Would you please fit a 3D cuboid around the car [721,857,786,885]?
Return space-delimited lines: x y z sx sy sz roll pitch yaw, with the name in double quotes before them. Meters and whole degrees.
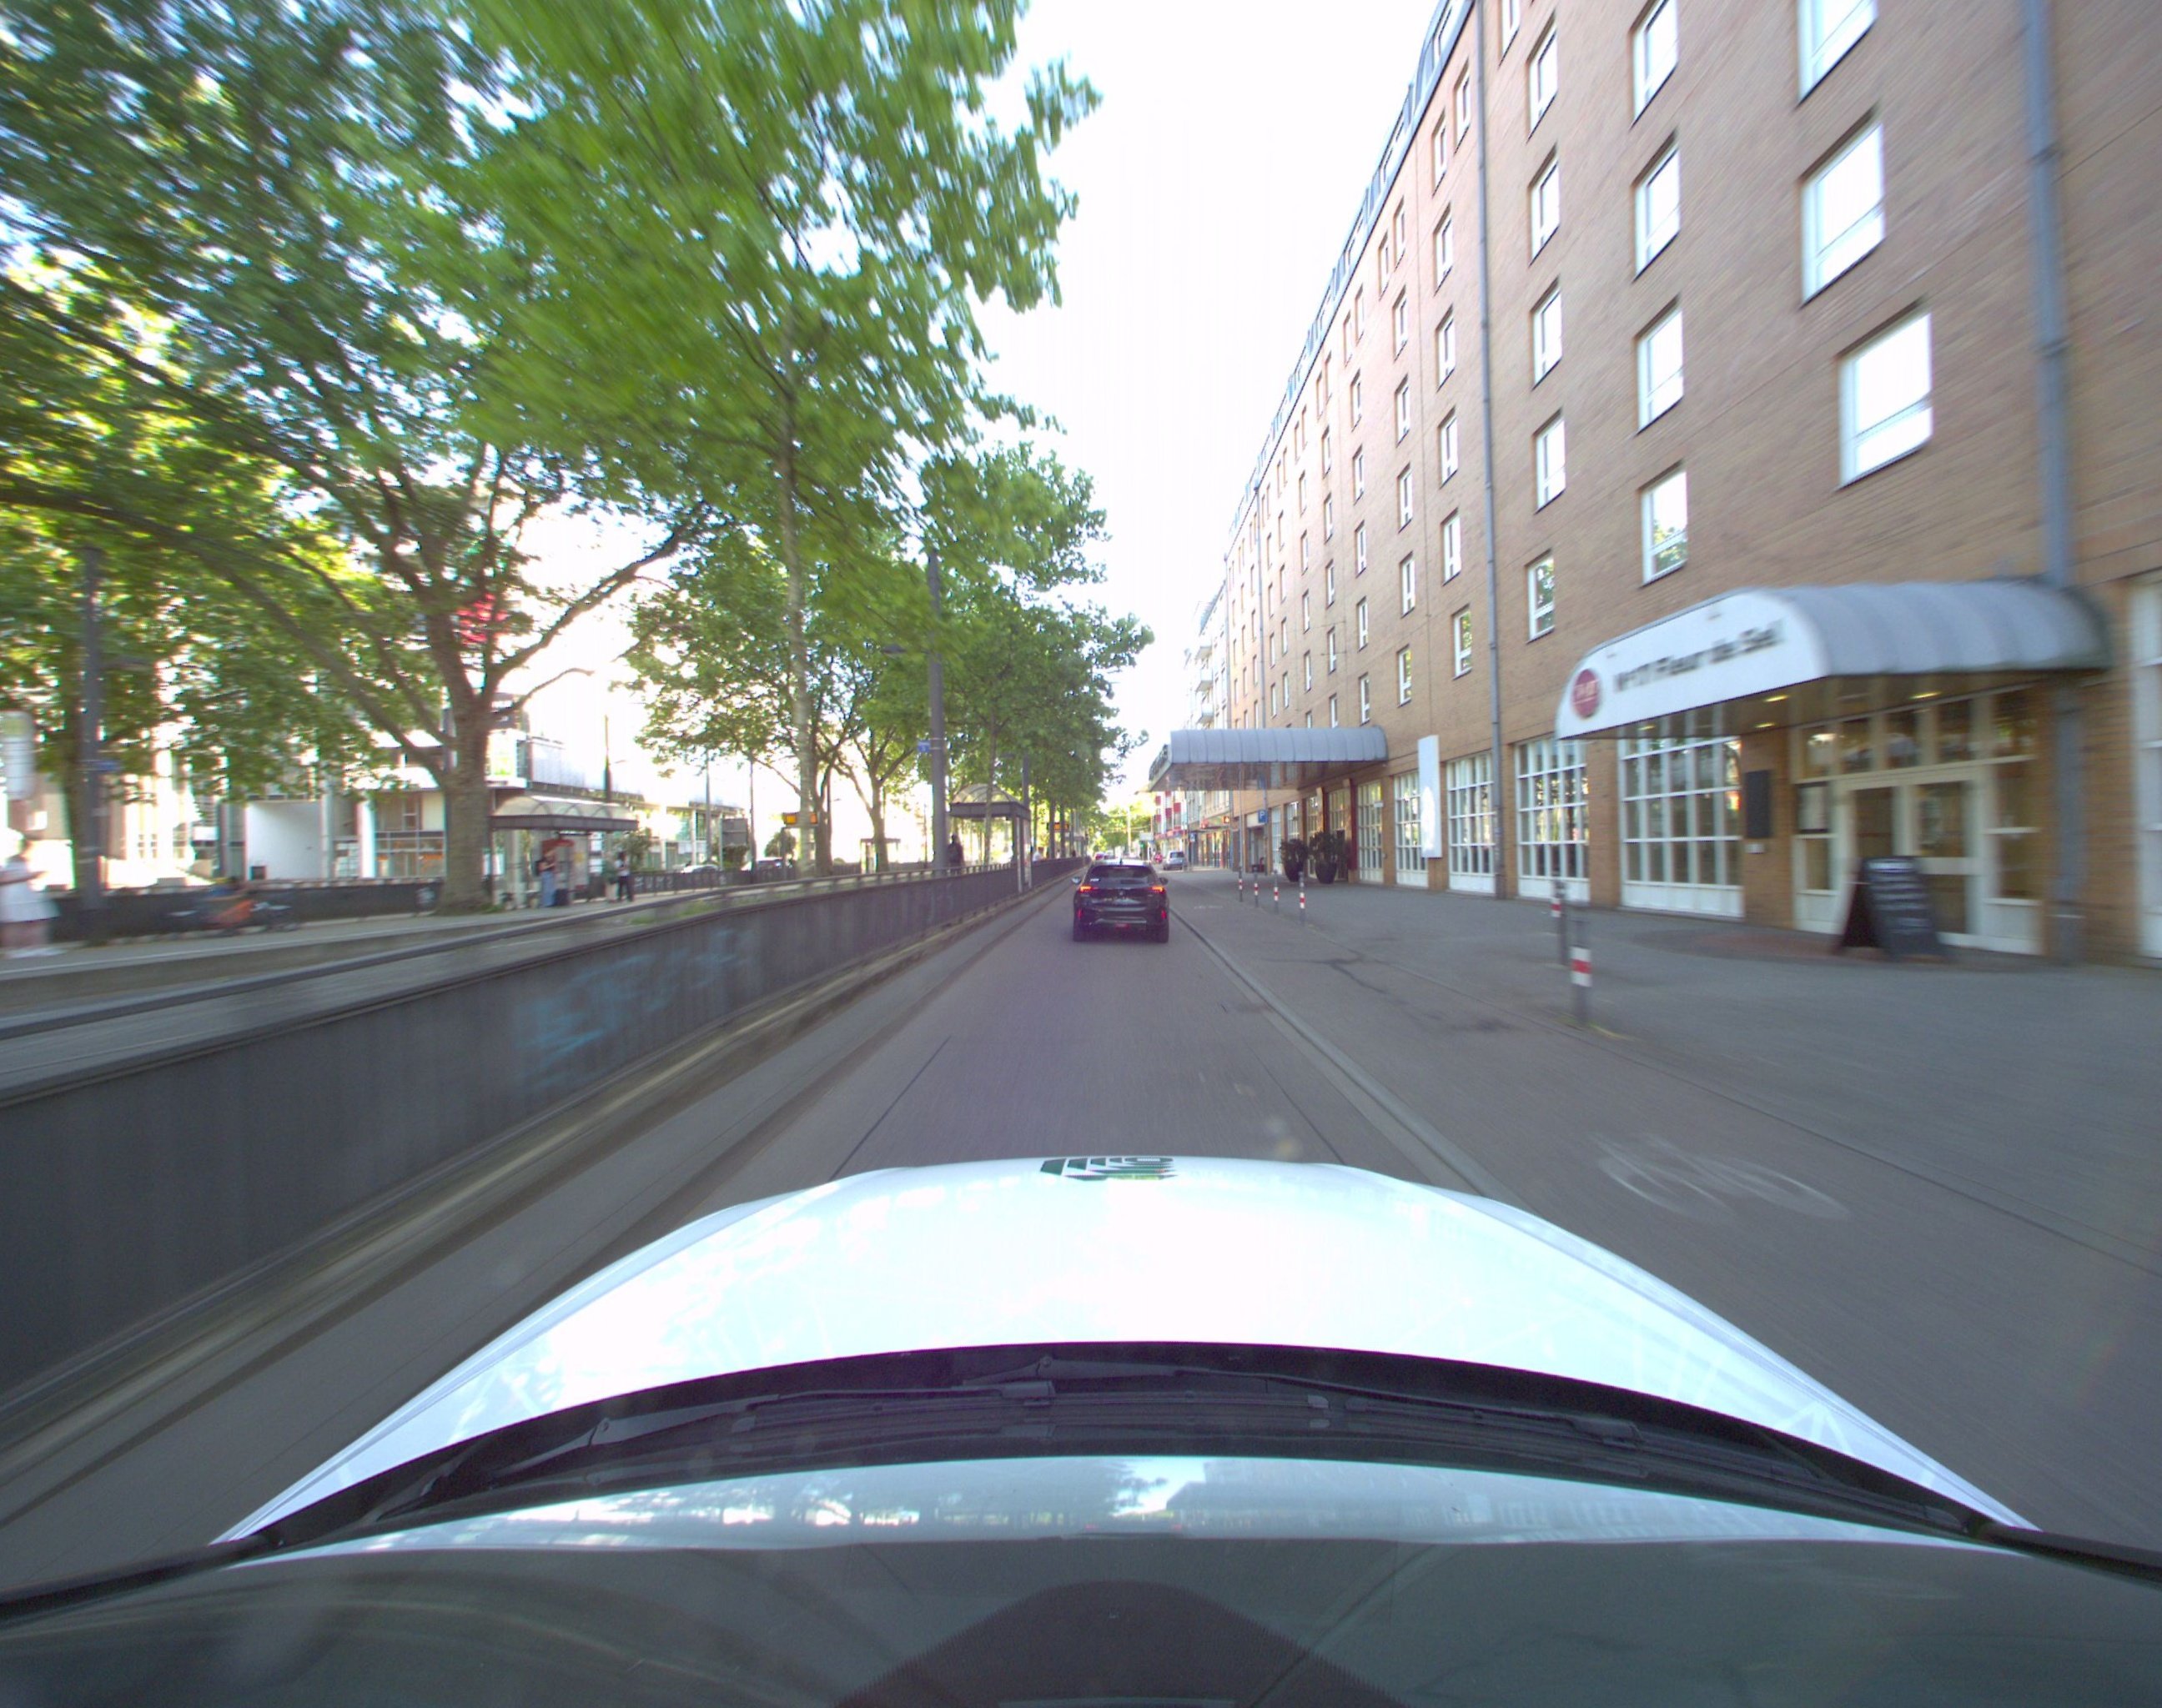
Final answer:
"car" -17.661 0.882 44.137 1.658 1.407 4.004 -1 -1 4

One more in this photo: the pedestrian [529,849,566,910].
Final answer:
"pedestrian" -14.121 0.659 21.570 0.480 1.573 0.676 0 2 45

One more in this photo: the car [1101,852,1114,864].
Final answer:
"car" 3.325 0.461 101.897 1.607 1.501 3.691 -1 0 1

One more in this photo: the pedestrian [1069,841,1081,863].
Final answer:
"pedestrian" -0.409 -0.151 55.235 0.720 1.444 0.626 -1 0 -2

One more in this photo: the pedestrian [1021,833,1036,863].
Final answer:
"pedestrian" -2.433 -0.286 37.755 0.602 1.365 0.486 -3 -1 2

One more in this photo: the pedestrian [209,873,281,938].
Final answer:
"pedestrian" -15.790 0.961 15.391 0.586 1.164 0.748 -1 0 17

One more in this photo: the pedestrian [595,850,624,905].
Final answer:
"pedestrian" -13.892 0.684 24.002 0.498 1.573 0.495 -1 1 5

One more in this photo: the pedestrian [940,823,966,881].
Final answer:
"pedestrian" -3.848 -0.061 24.521 0.602 1.680 0.486 -3 -1 2

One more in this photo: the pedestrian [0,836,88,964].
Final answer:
"pedestrian" -15.193 0.646 11.856 0.586 1.800 0.748 -1 0 17

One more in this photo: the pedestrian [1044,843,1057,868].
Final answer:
"pedestrian" -1.713 0.077 45.915 0.602 1.365 0.486 -3 -1 2

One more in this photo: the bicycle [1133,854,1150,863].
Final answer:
"bicycle" 8.431 0.609 113.834 2.345 1.233 0.684 -1 0 3

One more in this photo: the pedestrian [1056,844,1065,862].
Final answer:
"pedestrian" -1.514 -0.074 60.265 0.602 1.365 0.486 -3 -1 2

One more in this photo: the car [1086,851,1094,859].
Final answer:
"car" 1.756 0.097 157.095 1.607 1.501 3.691 -1 0 1

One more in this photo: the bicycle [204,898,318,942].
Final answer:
"bicycle" -15.544 1.226 15.501 0.391 0.689 1.696 -1 0 2

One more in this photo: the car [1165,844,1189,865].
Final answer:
"car" 7.800 0.042 66.666 1.665 1.652 3.693 -1 0 3

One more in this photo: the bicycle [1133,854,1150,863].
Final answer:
"bicycle" 8.357 0.578 112.111 2.345 1.233 0.684 -1 0 3

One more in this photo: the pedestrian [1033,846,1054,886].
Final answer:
"pedestrian" -1.378 0.420 30.075 0.720 1.444 0.626 -1 0 -2

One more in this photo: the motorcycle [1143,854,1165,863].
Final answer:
"motorcycle" 8.995 0.504 100.676 1.312 1.058 3.069 -1 0 -28

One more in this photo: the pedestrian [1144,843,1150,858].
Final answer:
"pedestrian" 12.835 -0.728 158.231 0.913 2.871 1.151 -1 0 1

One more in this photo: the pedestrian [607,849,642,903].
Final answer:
"pedestrian" -13.758 0.664 24.553 0.559 1.573 0.642 -1 1 14

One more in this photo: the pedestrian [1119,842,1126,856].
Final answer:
"pedestrian" 8.461 -1.034 166.099 1.154 2.871 0.910 -2 -1 -31

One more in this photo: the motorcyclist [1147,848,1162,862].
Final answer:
"motorcyclist" 9.077 0.178 100.525 1.312 1.698 1.226 -1 0 -28

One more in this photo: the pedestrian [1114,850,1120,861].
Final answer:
"pedestrian" 6.231 0.219 139.975 0.914 1.775 1.150 -1 0 0

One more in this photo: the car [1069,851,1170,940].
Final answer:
"car" 0.845 0.726 15.607 1.663 1.502 3.697 0 -1 7

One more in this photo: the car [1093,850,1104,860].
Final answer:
"car" 2.616 0.115 120.353 1.607 1.501 3.691 -1 0 1
